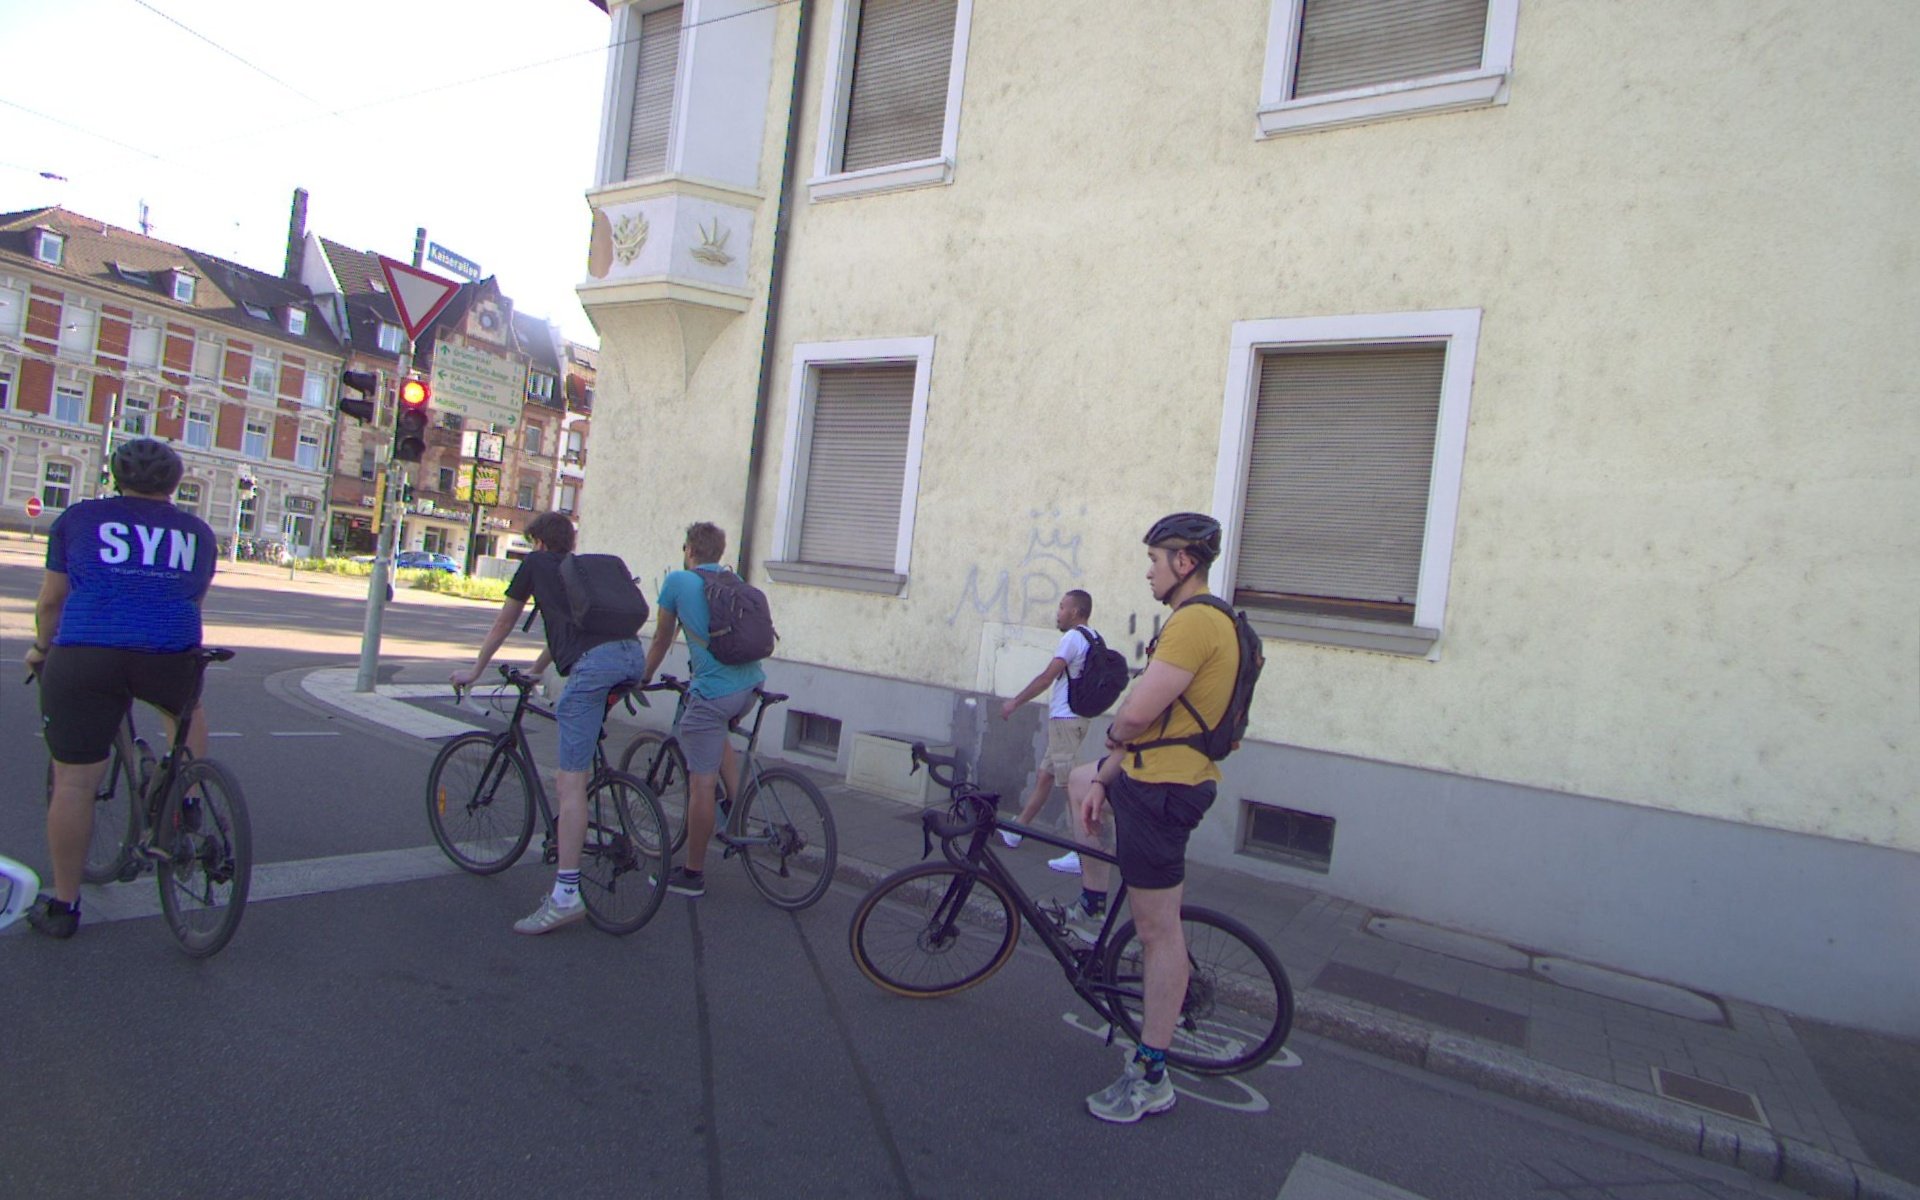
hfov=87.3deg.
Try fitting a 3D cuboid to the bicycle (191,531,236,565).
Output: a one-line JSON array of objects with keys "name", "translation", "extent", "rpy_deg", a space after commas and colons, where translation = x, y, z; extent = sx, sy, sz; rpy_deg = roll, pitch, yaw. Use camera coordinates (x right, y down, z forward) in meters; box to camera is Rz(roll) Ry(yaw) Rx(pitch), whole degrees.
[{"name": "bicycle", "translation": [-34.190, -2.403, 46.069], "extent": [2.618, 1.301, 0.693], "rpy_deg": [6, -1, 33]}]

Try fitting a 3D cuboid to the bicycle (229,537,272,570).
[{"name": "bicycle", "translation": [-33.411, -2.217, 47.365], "extent": [2.618, 1.301, 0.629], "rpy_deg": [6, -1, 33]}]

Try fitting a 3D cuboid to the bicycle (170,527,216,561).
[{"name": "bicycle", "translation": [-34.634, -2.524, 45.429], "extent": [2.618, 1.301, 0.693], "rpy_deg": [6, -1, 33]}]

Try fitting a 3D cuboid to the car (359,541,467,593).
[{"name": "car", "translation": [-25.449, -1.513, 46.909], "extent": [1.967, 1.798, 3.790], "rpy_deg": [6, -2, 31]}]

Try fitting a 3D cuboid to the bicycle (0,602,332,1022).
[{"name": "bicycle", "translation": [-3.086, 0.644, 3.673], "extent": [1.676, 1.097, 0.627], "rpy_deg": [6, -1, 35]}]

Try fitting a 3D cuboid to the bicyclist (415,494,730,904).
[{"name": "bicyclist", "translation": [-1.754, 0.413, 4.612], "extent": [0.868, 1.625, 0.807], "rpy_deg": [7, -1, 30]}]

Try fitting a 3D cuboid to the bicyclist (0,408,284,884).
[{"name": "bicyclist", "translation": [-3.110, 0.132, 3.675], "extent": [0.869, 1.512, 0.639], "rpy_deg": [9, 0, 36]}]

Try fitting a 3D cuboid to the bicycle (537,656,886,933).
[{"name": "bicycle", "translation": [-1.333, 0.931, 5.267], "extent": [1.742, 1.043, 0.650], "rpy_deg": [6, -1, 33]}]

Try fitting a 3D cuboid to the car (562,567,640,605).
[{"name": "car", "translation": [-23.238, -0.873, 65.287], "extent": [1.967, 1.798, 4.374], "rpy_deg": [6, -2, 31]}]

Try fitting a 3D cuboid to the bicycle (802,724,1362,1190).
[{"name": "bicycle", "translation": [0.399, 1.103, 3.632], "extent": [1.751, 1.043, 0.756], "rpy_deg": [6, -2, 33]}]

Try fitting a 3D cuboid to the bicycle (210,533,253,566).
[{"name": "bicycle", "translation": [-33.823, -2.335, 46.693], "extent": [2.618, 1.301, 0.629], "rpy_deg": [6, -1, 33]}]

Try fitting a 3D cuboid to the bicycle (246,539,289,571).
[{"name": "bicycle", "translation": [-33.044, -2.149, 47.995], "extent": [2.618, 1.301, 0.629], "rpy_deg": [6, -1, 33]}]

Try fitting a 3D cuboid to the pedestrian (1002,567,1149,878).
[{"name": "pedestrian", "translation": [0.681, 0.717, 6.142], "extent": [0.631, 1.780, 0.584], "rpy_deg": [4, 3, -7]}]

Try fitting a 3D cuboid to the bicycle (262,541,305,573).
[{"name": "bicycle", "translation": [-32.674, -2.072, 48.584], "extent": [2.618, 1.301, 0.629], "rpy_deg": [6, -1, 33]}]

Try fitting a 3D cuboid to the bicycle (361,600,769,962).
[{"name": "bicycle", "translation": [-1.842, 0.736, 4.650], "extent": [1.674, 1.251, 0.756], "rpy_deg": [6, -1, 30]}]

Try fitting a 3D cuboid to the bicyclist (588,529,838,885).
[{"name": "bicyclist", "translation": [-1.291, 0.523, 5.293], "extent": [0.869, 1.652, 0.690], "rpy_deg": [6, -1, 34]}]

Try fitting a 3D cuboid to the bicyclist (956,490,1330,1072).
[{"name": "bicyclist", "translation": [0.663, 0.542, 3.516], "extent": [0.869, 1.682, 0.807], "rpy_deg": [6, -1, 32]}]
